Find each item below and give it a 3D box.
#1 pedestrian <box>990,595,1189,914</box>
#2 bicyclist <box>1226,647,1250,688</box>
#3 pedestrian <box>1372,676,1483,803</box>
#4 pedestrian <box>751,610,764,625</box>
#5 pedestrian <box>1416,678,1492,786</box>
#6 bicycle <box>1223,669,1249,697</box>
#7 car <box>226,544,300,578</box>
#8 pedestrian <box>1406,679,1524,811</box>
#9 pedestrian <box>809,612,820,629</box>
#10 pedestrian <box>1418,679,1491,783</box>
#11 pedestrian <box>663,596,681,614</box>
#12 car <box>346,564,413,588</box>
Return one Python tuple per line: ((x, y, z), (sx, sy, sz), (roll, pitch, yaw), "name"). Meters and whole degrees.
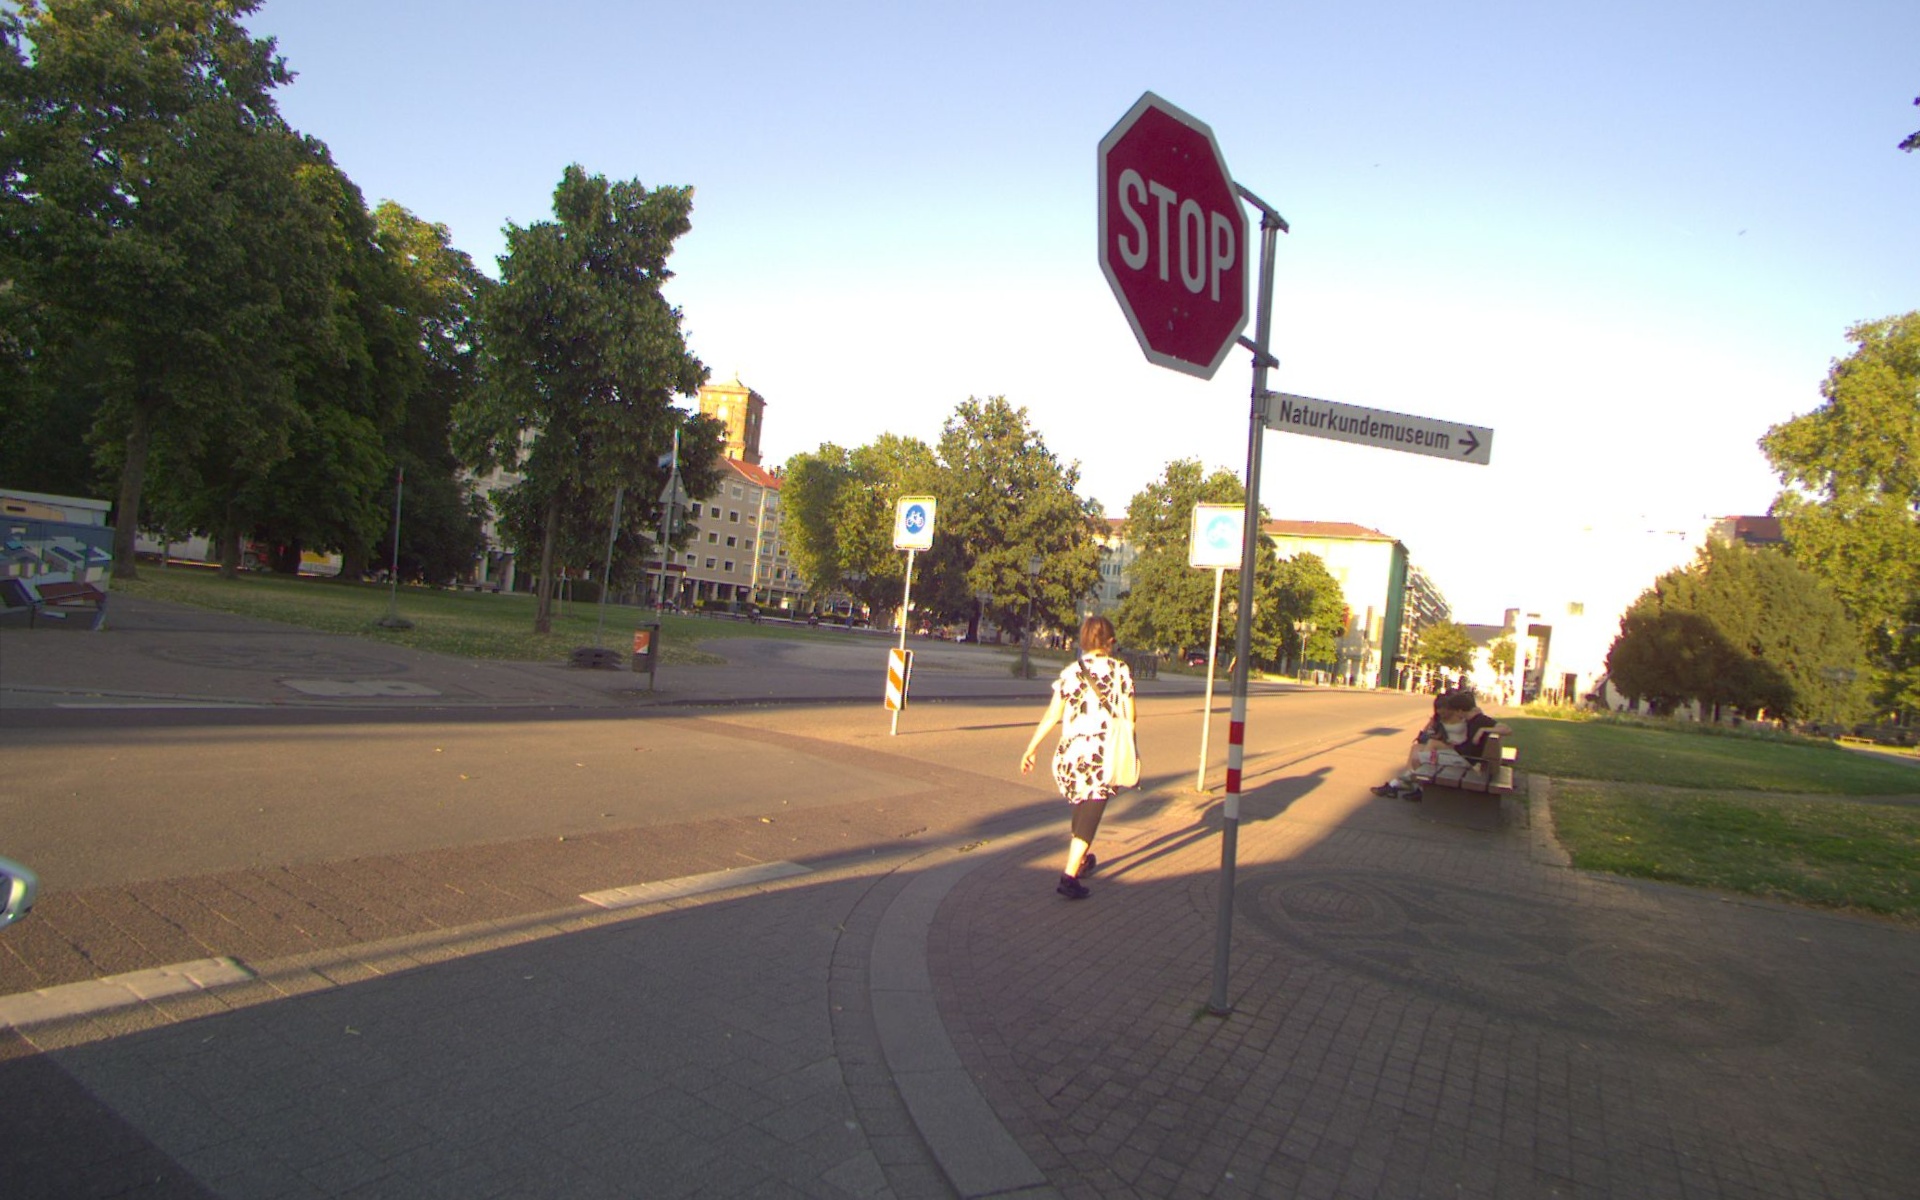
((0.797, 0.882, 6.090), (0.822, 1.710, 0.735), (5, 0, 31), "pedestrian")
((10.483, 2.542, 37.945), (0.630, 1.461, 0.695), (6, 0, 25), "bicyclist")
((5.270, 1.558, 11.368), (0.857, 1.277, 0.598), (6, 0, 0), "pedestrian")
((-13.138, 1.144, 65.217), (0.609, 0.936, 0.512), (5, 0, 6), "pedestrian")
((6.807, 1.801, 13.891), (0.804, 1.358, 0.598), (5, 0, 26), "pedestrian")
((10.391, 3.106, 37.859), (0.630, 0.953, 1.463), (6, -1, 24), "bicycle")
((-52.513, -2.915, 75.812), (1.967, 2.038, 4.036), (5, -1, 32), "car")
((5.359, 1.523, 10.714), (0.803, 1.252, 0.684), (6, 0, 1), "pedestrian")
((-9.428, 1.324, 65.025), (0.610, 1.090, 0.511), (5, 0, -9), "pedestrian")
((7.105, 1.866, 14.477), (0.804, 1.358, 0.598), (5, 0, 26), "pedestrian")
((-19.645, 0.353, 68.664), (0.893, 1.090, 0.614), (6, 0, -42), "pedestrian")
((-41.502, -1.723, 72.003), (1.964, 1.255, 3.584), (5, -1, 25), "car")
